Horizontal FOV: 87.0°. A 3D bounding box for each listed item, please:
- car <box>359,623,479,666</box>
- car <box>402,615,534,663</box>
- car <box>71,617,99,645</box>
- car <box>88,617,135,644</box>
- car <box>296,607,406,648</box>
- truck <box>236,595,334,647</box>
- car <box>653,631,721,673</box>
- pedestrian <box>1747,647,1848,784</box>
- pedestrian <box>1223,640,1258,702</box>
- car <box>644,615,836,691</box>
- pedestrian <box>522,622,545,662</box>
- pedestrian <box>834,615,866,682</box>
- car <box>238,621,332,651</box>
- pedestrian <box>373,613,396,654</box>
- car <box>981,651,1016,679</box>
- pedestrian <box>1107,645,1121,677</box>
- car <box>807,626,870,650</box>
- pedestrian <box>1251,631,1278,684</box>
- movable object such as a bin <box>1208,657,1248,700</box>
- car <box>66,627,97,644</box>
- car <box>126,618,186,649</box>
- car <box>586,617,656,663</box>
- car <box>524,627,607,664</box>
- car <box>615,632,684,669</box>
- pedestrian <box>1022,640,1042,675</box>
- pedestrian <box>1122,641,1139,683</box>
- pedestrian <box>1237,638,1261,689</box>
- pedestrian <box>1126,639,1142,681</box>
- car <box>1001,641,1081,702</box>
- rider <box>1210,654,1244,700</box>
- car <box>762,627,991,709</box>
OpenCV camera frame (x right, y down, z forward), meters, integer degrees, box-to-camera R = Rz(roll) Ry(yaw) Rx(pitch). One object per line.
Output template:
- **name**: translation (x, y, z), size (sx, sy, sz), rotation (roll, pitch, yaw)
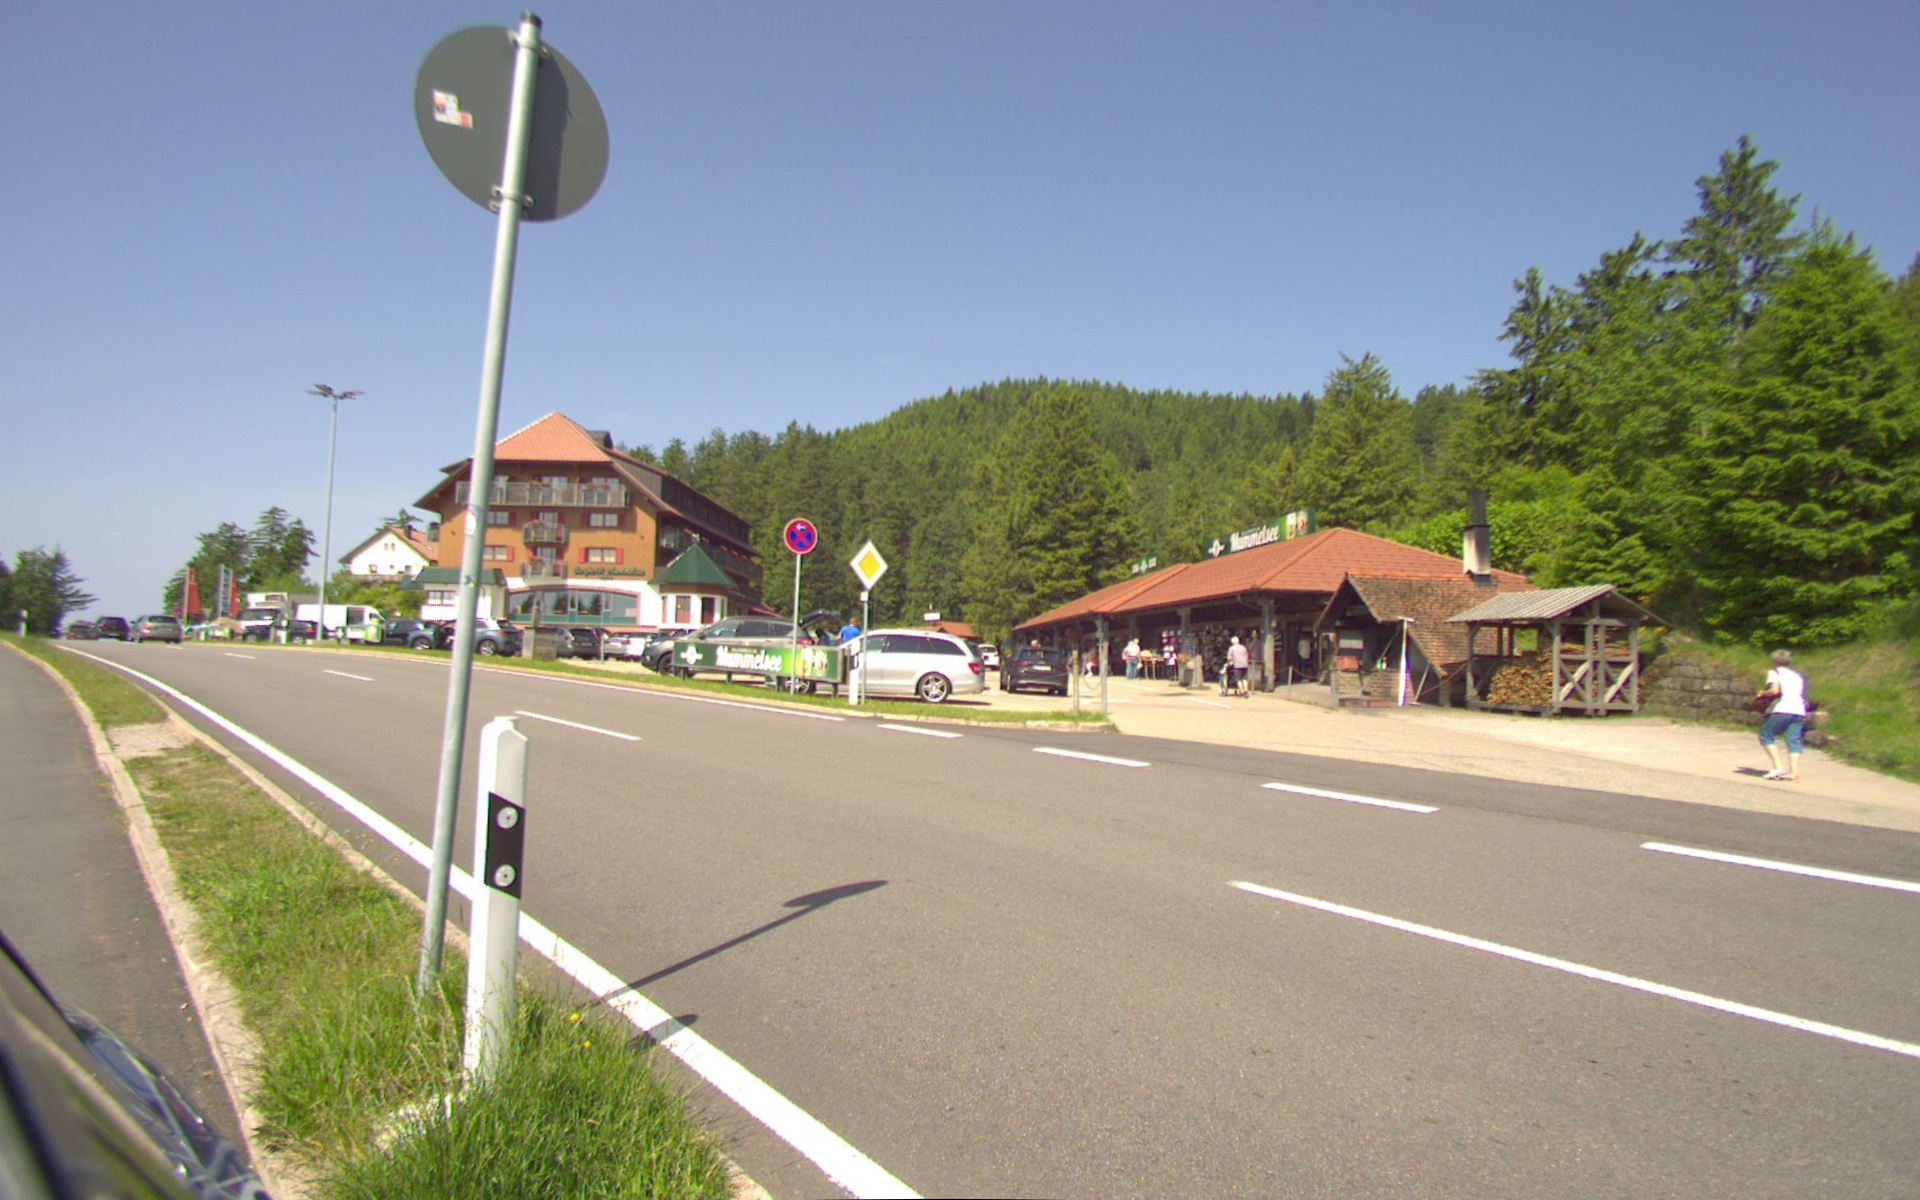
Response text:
- **car**: translation (-23.538, 1.939, 44.141), size (4.208, 1.641, 1.825), rotation (2, -3, -3)
- **car**: translation (-19.140, 1.531, 39.539), size (4.208, 1.641, 1.825), rotation (2, -3, -3)
- **car**: translation (-93.977, 3.295, 108.679), size (1.987, 2.772, 5.923), rotation (4, -3, -43)
- **car**: translation (-57.214, 2.055, 68.203), size (4.569, 1.660, 1.971), rotation (0, -3, 45)
- **car**: translation (-46.318, 2.113, 77.237), size (6.845, 2.812, 2.675), rotation (3, -3, -27)
- **truck**: translation (-53.406, 1.727, 80.449), size (2.838, 3.850, 9.033), rotation (0, -2, -8)
- **car**: translation (-11.674, 2.213, 43.602), size (1.798, 1.641, 4.094), rotation (2, -3, 0)
- **pedestrian**: translation (10.812, 1.469, 13.086), size (0.711, 1.694, 0.683), rotation (2, -2, -1)
- **pedestrian**: translation (8.029, 2.014, 28.954), size (0.829, 1.712, 0.801), rotation (1, -2, 8)
- **car**: translation (-5.444, 1.332, 25.547), size (4.484, 1.668, 1.723), rotation (2, -3, -4)
- **pedestrian**: translation (-17.696, 1.746, 41.959), size (0.733, 1.637, 0.685), rotation (3, -3, -16)
- **pedestrian**: translation (-2.802, 1.226, 25.712), size (0.735, 1.648, 0.848), rotation (2, -2, -6)
- **car**: translation (-38.471, 2.060, 57.768), size (4.031, 1.539, 1.827), rotation (3, -3, -6)
- **pedestrian**: translation (-28.706, 1.651, 50.495), size (0.803, 2.029, 0.707), rotation (-1, -3, 43)
- **car**: translation (2.429, 4.104, 64.357), size (1.972, 1.541, 3.999), rotation (4, -2, 0)
- **pedestrian**: translation (7.175, 2.839, 47.218), size (0.537, 1.442, 0.473), rotation (2, -2, -4)
- **car**: translation (-9.793, 3.043, 81.828), size (4.776, 1.729, 1.921), rotation (2, -3, -1)
- **pedestrian**: translation (10.355, 1.955, 34.464), size (0.740, 1.750, 0.801), rotation (1, -2, 7)
- **movable object such as a bin**: translation (7.926, 2.318, 30.009), size (0.972, 1.198, 1.214), rotation (1, -2, 7)
- **car**: translation (-80.671, 3.237, 92.923), size (4.451, 1.449, 1.687), rotation (0, -3, 44)
- **car**: translation (-41.304, 1.711, 51.955), size (4.716, 1.485, 1.858), rotation (0, -2, 44)
- **car**: translation (-15.999, 1.888, 47.952), size (1.972, 2.029, 4.000), rotation (1, -2, -1)
- **car**: translation (-17.114, 1.974, 43.836), size (4.000, 1.441, 1.698), rotation (0, -3, 43)
- **car**: translation (-13.834, 2.245, 45.307), size (1.798, 1.524, 4.094), rotation (2, -3, 0)
- **pedestrian**: translation (3.527, 2.795, 49.563), size (0.772, 1.668, 0.881), rotation (2, -2, -7)
- **pedestrian**: translation (7.006, 2.546, 41.625), size (0.499, 1.668, 0.472), rotation (2, -2, -11)
- **pedestrian**: translation (10.125, 2.216, 35.422), size (0.555, 1.750, 0.663), rotation (0, -3, 42)
- **pedestrian**: translation (7.069, 2.426, 41.102), size (0.499, 1.668, 0.472), rotation (2, -2, -11)
- **car**: translation (2.342, 2.085, 30.372), size (1.972, 1.541, 3.999), rotation (4, -2, 0)
- **rider**: translation (7.904, 2.266, 29.942), size (0.829, 1.284, 0.907), rotation (1, -2, 7)
- **car**: translation (-1.687, 1.383, 20.769), size (4.435, 1.441, 1.723), rotation (2, -3, -3)
